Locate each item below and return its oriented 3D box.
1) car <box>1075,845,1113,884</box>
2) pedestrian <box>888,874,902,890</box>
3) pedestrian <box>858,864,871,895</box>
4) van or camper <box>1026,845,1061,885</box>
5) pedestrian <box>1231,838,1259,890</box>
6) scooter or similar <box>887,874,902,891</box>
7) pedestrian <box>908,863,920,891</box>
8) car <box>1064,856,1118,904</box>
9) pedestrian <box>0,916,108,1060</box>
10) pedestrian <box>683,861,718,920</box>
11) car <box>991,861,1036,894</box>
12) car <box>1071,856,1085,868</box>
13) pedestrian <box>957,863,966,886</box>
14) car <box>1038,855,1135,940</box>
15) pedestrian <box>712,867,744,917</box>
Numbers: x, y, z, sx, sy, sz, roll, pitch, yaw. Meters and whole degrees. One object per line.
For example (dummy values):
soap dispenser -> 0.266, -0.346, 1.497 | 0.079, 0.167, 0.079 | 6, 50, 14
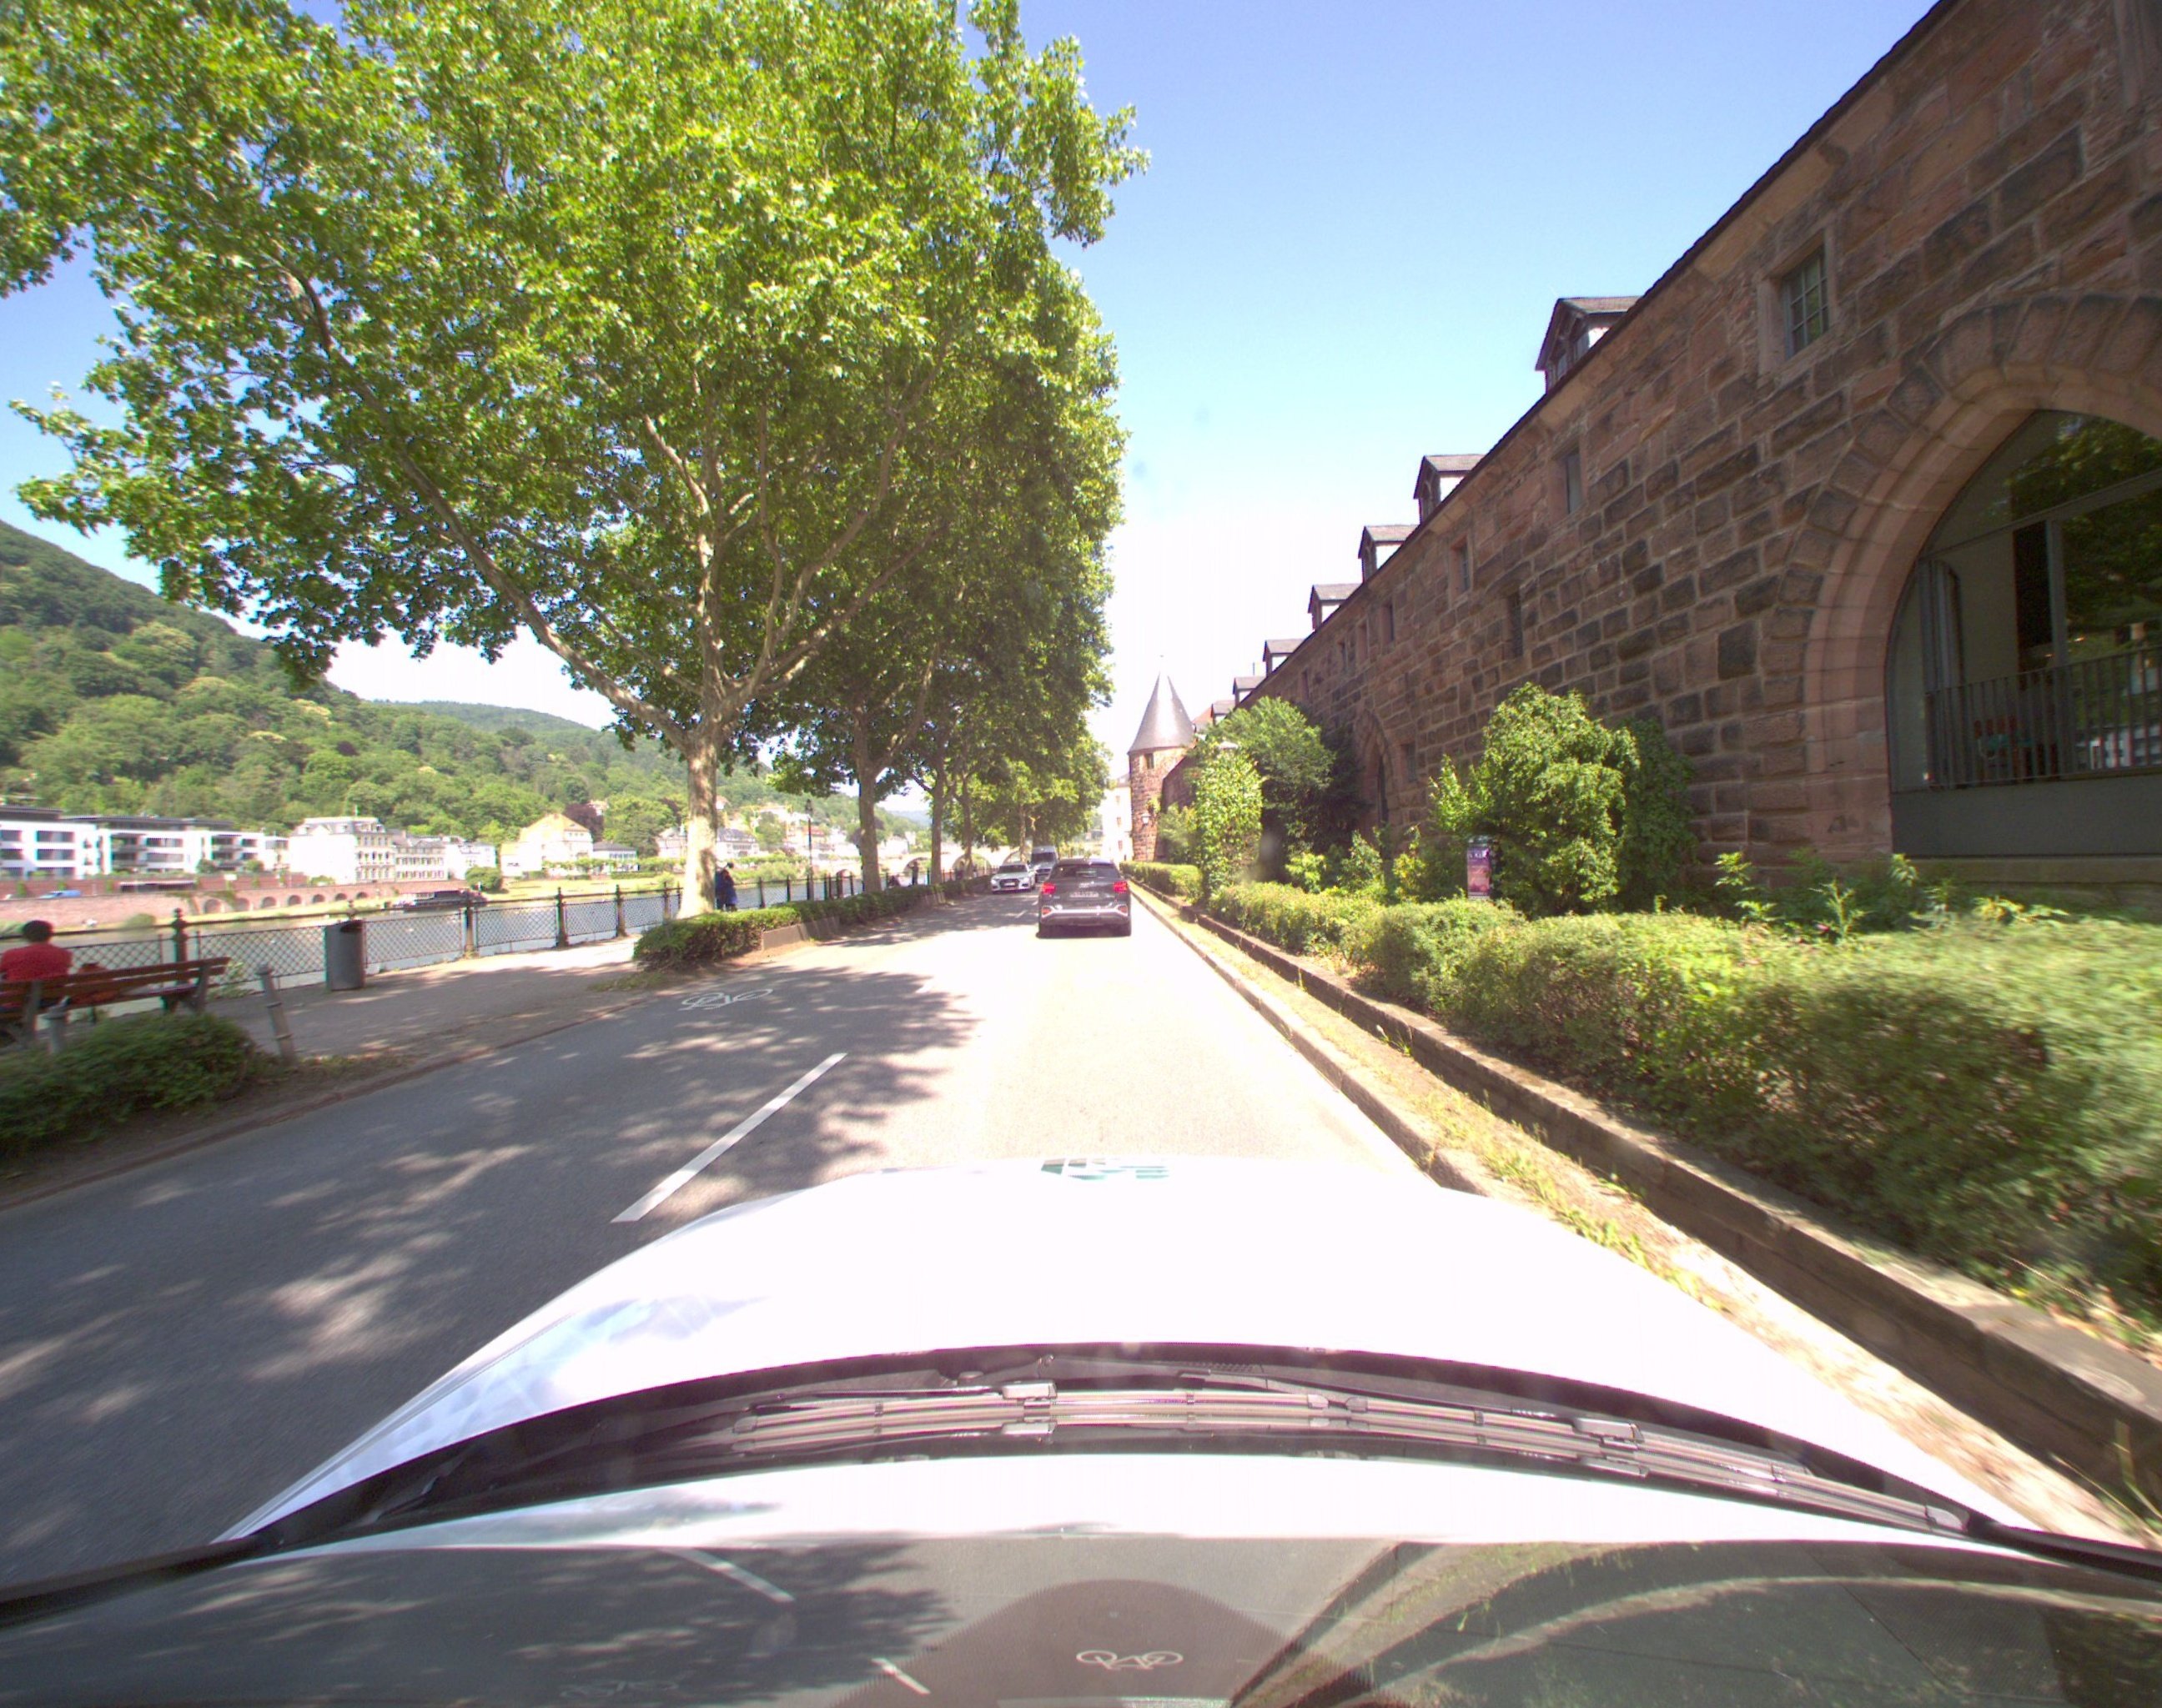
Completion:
car -> 0.746, 0.585, 47.333 | 1.987, 2.013, 4.000 | -4, 0, 1
pedestrian -> -11.096, 1.662, 48.634 | 0.605, 0.884, 0.705 | -2, 0, 0
pedestrian -> -11.891, 1.413, 44.791 | 0.582, 1.711, 0.403 | 0, -1, -2
van or camper -> -2.673, 0.782, 58.698 | 1.954, 2.567, 5.841 | -5, -1, 1
pedestrian -> 5.430, 0.321, 27.014 | 0.695, 1.652, 0.705 | -4, -1, 3
scooter or similar -> -11.091, 1.717, 48.491 | 0.629, 0.968, 1.012 | -2, -1, 0
pedestrian -> -9.835, 1.369, 47.961 | 0.642, 1.618, 0.458 | 0, -1, -1
car -> 0.429, 0.920, 30.368 | 1.794, 1.562, 3.718 | -4, 0, 2
pedestrian -> -10.319, 1.288, 8.000 | 0.700, 1.308, 0.657 | 0, -1, 1
pedestrian -> -11.930, 1.133, 25.559 | 0.701, 1.797, 0.705 | -2, -1, 2
car -> -3.311, 1.133, 40.650 | 1.764, 1.457, 4.533 | -3, -1, 0
car -> -0.498, 1.251, 128.441 | 1.755, 1.647, 4.095 | -4, 0, 5
pedestrian -> -8.454, 1.465, 57.822 | 0.456, 1.554, 0.586 | -4, -1, 0
car -> 0.102, 0.805, 16.721 | 1.743, 1.494, 3.628 | -2, 0, 0
pedestrian -> -11.704, 1.253, 27.004 | 0.701, 1.603, 0.705 | -2, -1, 2
